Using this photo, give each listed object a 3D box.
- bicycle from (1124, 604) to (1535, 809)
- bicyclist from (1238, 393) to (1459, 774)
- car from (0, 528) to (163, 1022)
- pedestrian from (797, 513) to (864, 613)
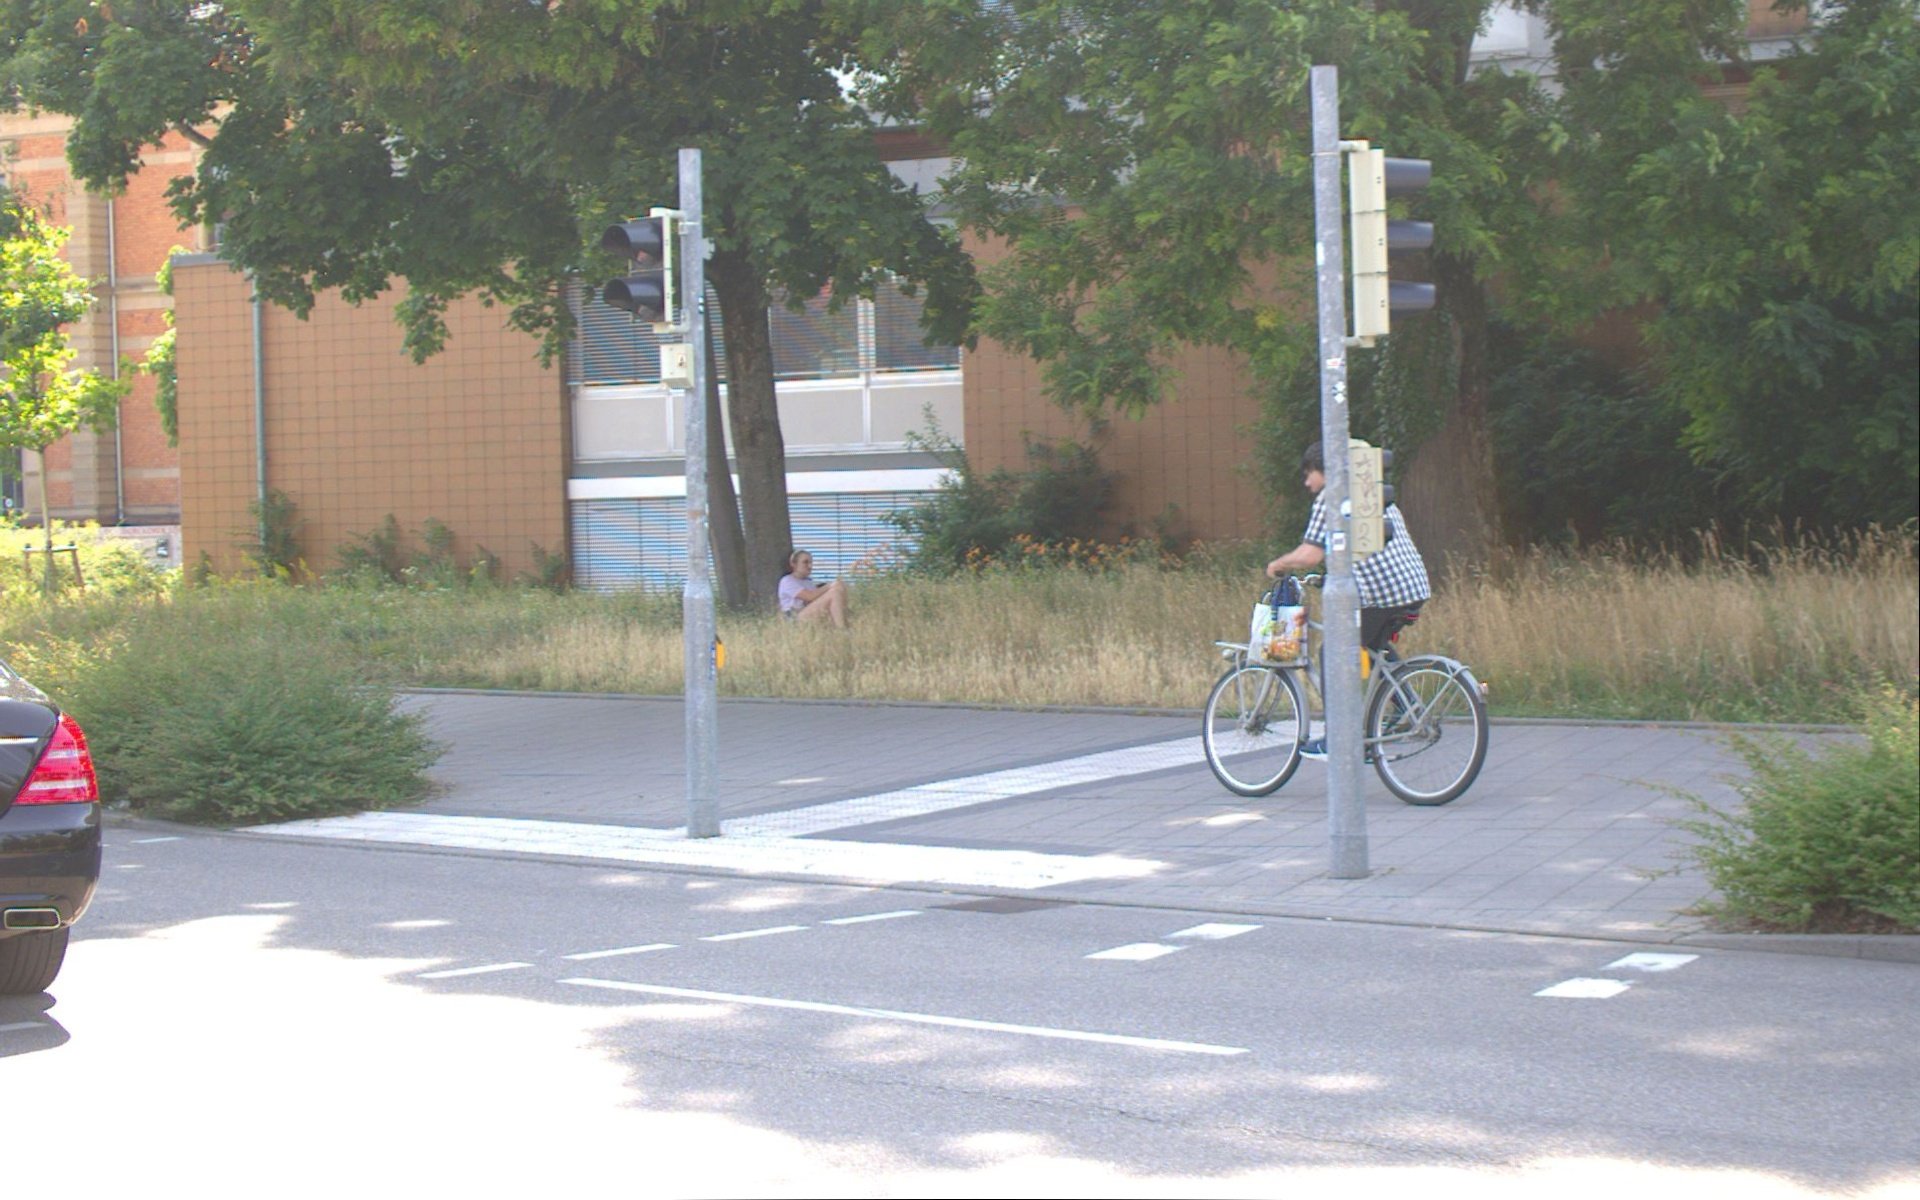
[{"bbox_3d":[1.867,0.531,17.532,1.956,0.943,0.693,-1,4,36],"label":"bicycle"},{"bbox_3d":[1.968,-0.095,17.400,0.858,1.872,0.687,0,2,36],"label":"bicyclist"},{"bbox_3d":[-4.683,0.584,12.428,1.859,1.525,4.713,-3,1,-35],"label":"car"},{"bbox_3d":[-1.157,-0.332,30.787,0.429,0.888,0.392,0,2,36],"label":"pedestrian"}]
